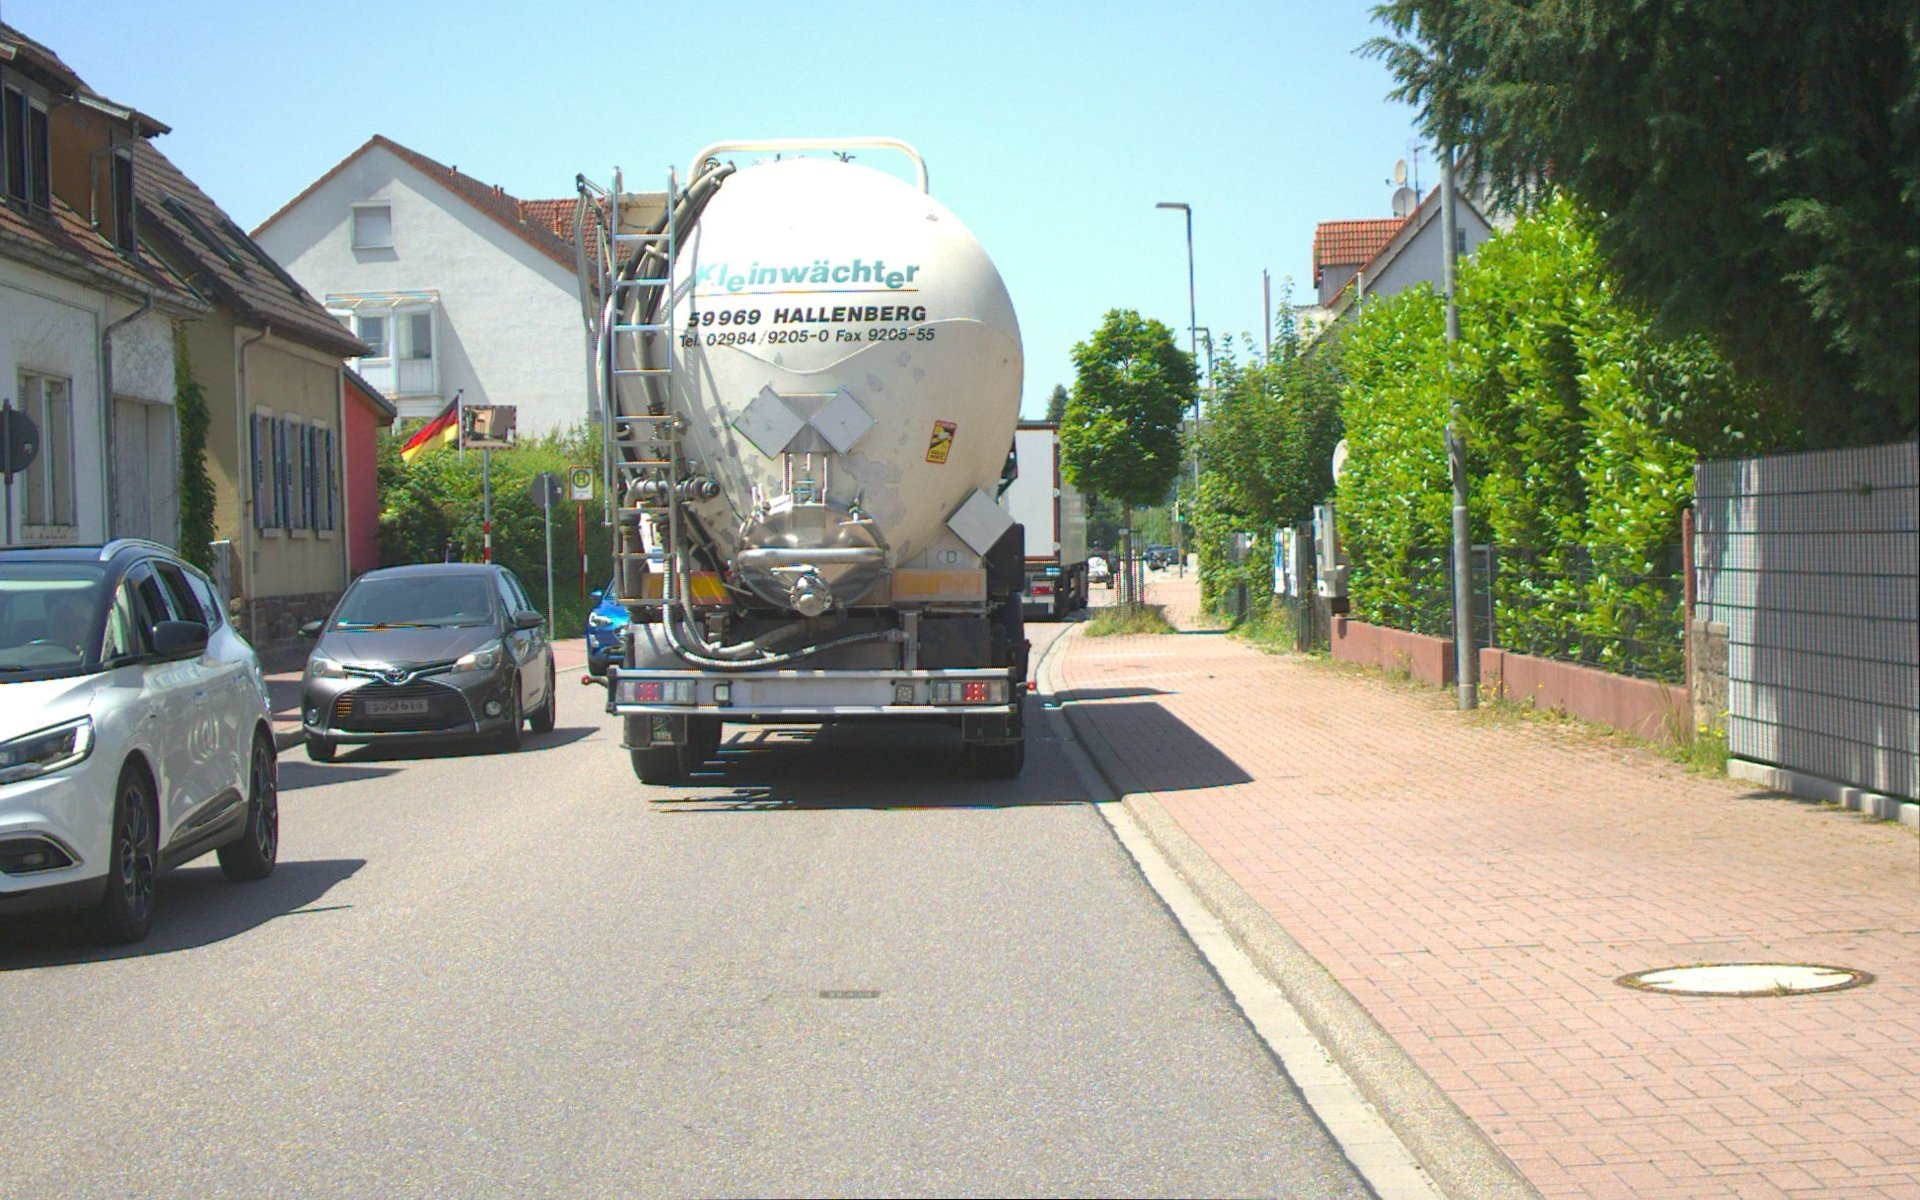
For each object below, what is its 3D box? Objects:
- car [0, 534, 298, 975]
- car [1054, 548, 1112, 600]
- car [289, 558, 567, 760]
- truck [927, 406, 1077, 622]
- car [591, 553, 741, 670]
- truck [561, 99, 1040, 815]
[{"bbox_3d":[-4.192,0.578,14.802,1.873,1.597,4.432,-3,1,-2],"label":"car"},{"bbox_3d":[4.314,-0.921,119.710,1.874,1.551,4.629,-2,3,3],"label":"car"},{"bbox_3d":[-4.318,0.427,28.414,1.676,1.454,3.929,-3,1,-1],"label":"car"},{"bbox_3d":[1.036,-1.818,73.897,2.641,4.210,12.092,-1,1,3],"label":"truck"},{"bbox_3d":[-3.874,0.112,45.901,1.645,1.449,4.401,-1,1,0],"label":"car"},{"bbox_3d":[-0.961,-0.902,24.189,2.641,4.002,9.562,-1,1,-1],"label":"truck"}]
